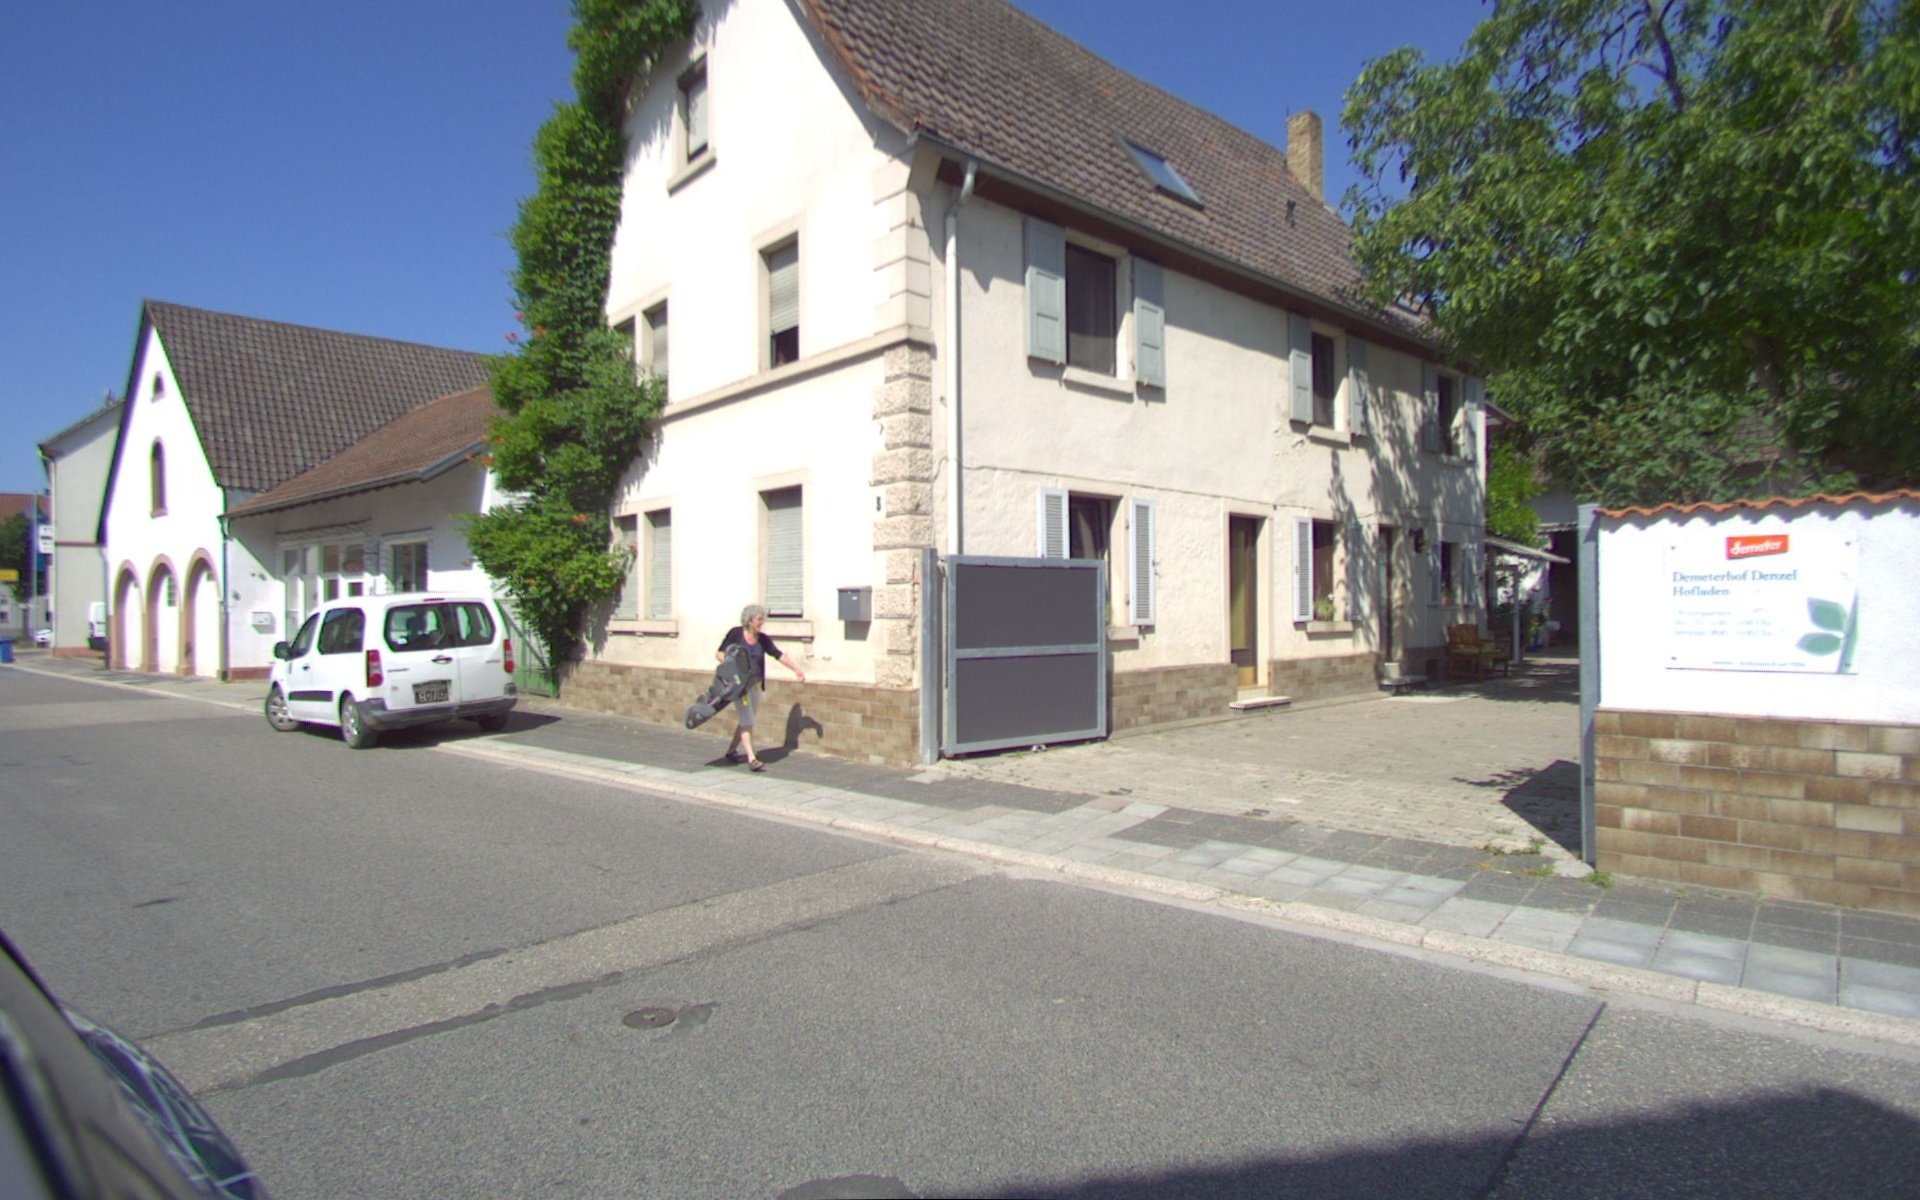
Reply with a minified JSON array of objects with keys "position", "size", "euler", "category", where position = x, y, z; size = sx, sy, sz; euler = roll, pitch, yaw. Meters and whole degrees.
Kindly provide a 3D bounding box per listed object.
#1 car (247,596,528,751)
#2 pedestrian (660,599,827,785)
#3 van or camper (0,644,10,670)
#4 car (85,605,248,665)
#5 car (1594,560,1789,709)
[{"position":[-7.588,0.839,13.214],"size":[4.428,1.659,1.836],"euler":[-1,0,42],"category":"car"},{"position":[-1.987,0.784,9.285],"size":[1.140,1.563,1.002],"euler":[-2,-1,42],"category":"pedestrian"},{"position":[-36.254,2.151,38.203],"size":[0.582,0.959,0.600],"euler":[0,-1,-45],"category":"van or camper"},{"position":[-32.211,1.377,41.215],"size":[5.111,2.213,2.126],"euler":[-1,-1,-40],"category":"car"},{"position":[10.313,0.407,14.573],"size":[1.898,1.811,4.210],"euler":[-1,0,31],"category":"car"}]
